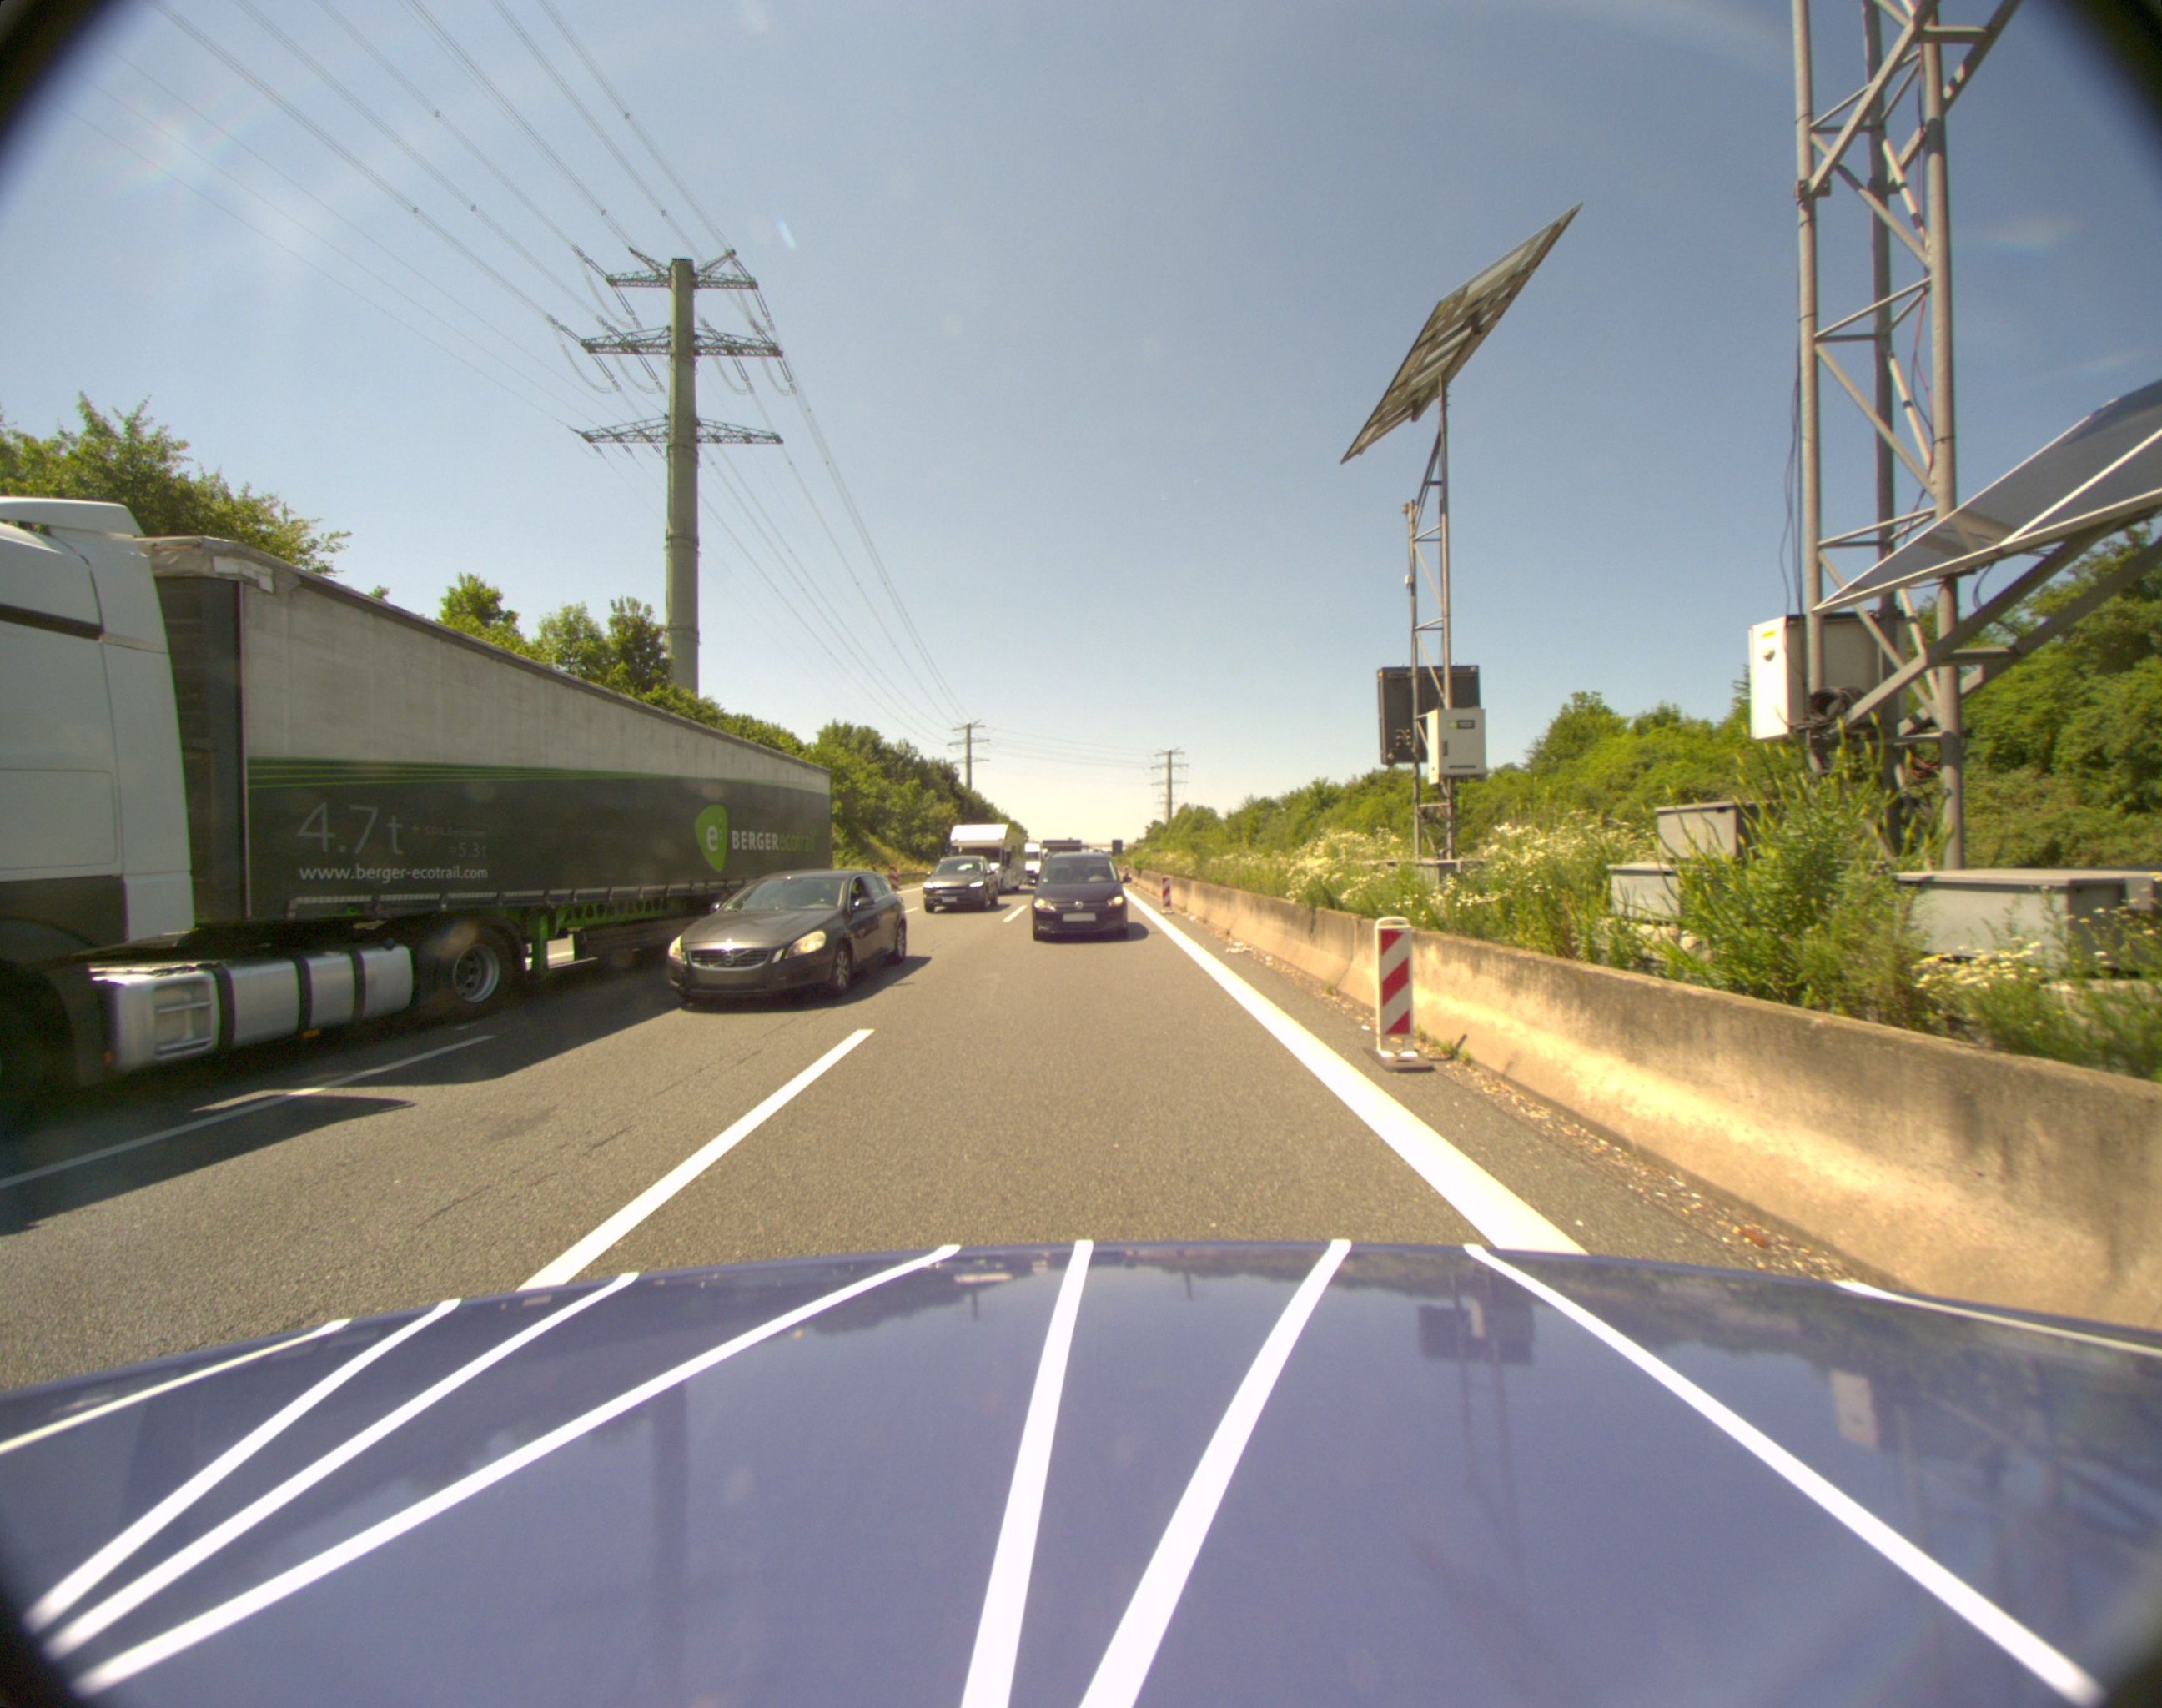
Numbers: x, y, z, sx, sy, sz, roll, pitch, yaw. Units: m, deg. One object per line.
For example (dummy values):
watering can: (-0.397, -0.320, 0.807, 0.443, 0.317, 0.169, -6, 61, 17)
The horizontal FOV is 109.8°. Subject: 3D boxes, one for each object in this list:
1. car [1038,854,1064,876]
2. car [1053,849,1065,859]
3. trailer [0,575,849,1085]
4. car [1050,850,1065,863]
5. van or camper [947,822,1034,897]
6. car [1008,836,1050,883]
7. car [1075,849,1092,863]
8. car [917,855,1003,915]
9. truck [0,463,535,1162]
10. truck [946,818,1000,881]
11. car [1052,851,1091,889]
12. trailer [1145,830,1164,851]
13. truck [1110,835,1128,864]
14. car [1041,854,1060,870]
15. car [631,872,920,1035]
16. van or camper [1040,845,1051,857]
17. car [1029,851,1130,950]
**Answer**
car: (-2.313, 0.846, 58.886, 1.720, 1.510, 3.874, -2, 1, 1)
car: (-3.553, 0.011, 122.324, 1.720, 1.510, 3.874, -2, 1, 1)
trailer: (-7.469, -0.234, 12.714, 2.790, 4.024, 13.110, -2, 1, 1)
car: (-3.075, 0.331, 99.282, 1.720, 1.510, 3.874, -2, 1, 1)
van or camper: (-4.002, 0.207, 35.364, 2.374, 3.026, 7.634, -2, 1, 5)
car: (-3.208, 0.317, 48.187, 2.042, 2.703, 6.705, -2, 1, 1)
car: (0.365, 0.214, 92.788, 1.973, 1.682, 3.874, -2, 1, 1)
car: (-3.660, 0.885, 23.788, 1.893, 1.602, 4.220, -2, 1, 1)
truck: (-7.560, -0.220, 5.527, 2.740, 4.024, 5.793, -2, 1, 1)
truck: (-7.570, -0.317, 54.052, 2.792, 4.120, 5.636, -2, 1, 1)
car: (-0.417, 0.720, 36.426, 1.700, 1.641, 4.220, -2, 1, 1)
trailer: (16.108, -2.974, 167.914, 2.967, 4.378, 12.905, -2, 1, 1)
truck: (4.592, -0.558, 92.181, 1.892, 3.263, 5.590, -2, 1, 1)
car: (-3.250, 0.835, 81.928, 1.720, 1.510, 3.874, -2, 1, 1)
car: (-3.522, 1.048, 9.820, 1.799, 1.411, 4.509, -2, 1, 1)
van or camper: (-7.467, -0.624, 161.078, 1.978, 2.511, 4.369, -2, 1, 1)
car: (0.000, 0.814, 15.374, 1.700, 1.641, 4.220, -2, 1, 1)
